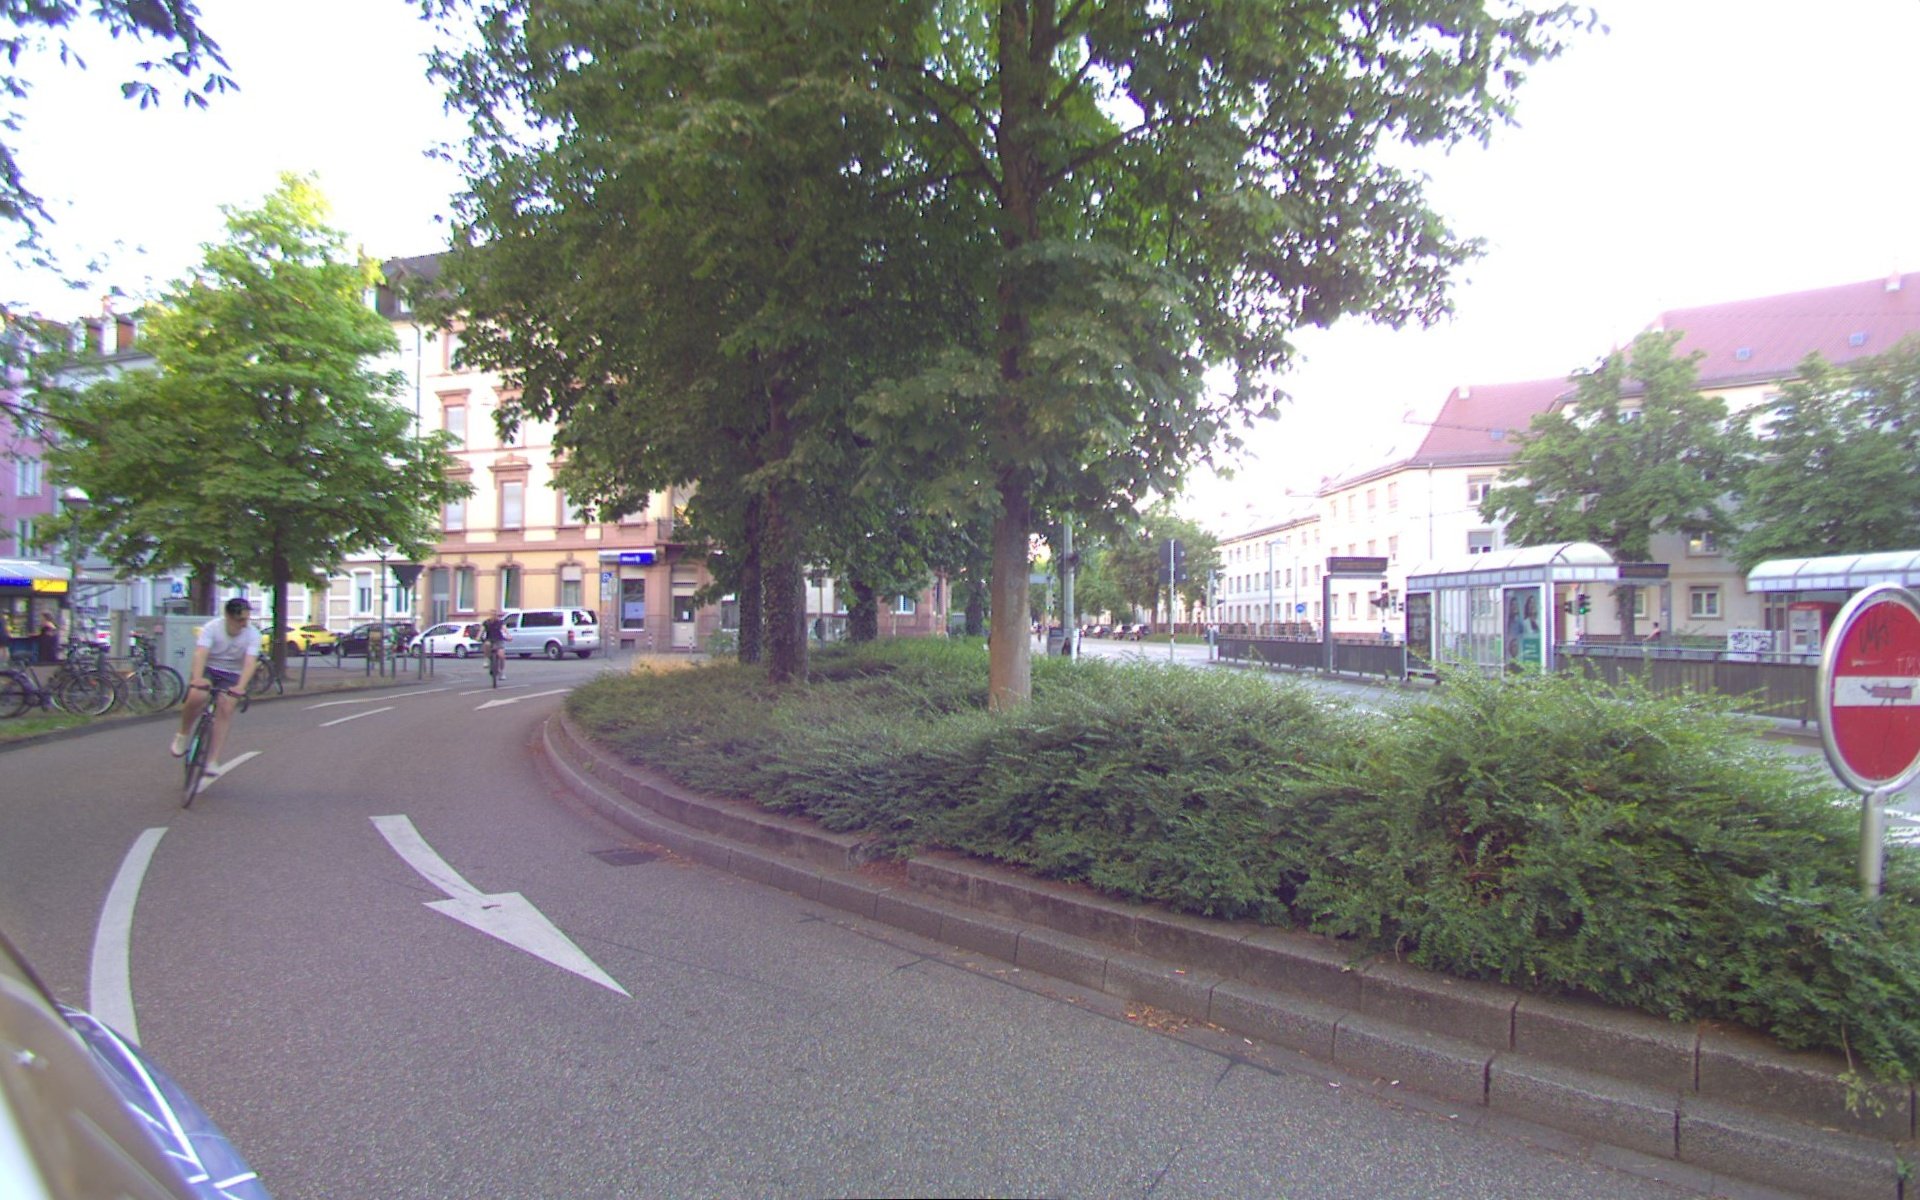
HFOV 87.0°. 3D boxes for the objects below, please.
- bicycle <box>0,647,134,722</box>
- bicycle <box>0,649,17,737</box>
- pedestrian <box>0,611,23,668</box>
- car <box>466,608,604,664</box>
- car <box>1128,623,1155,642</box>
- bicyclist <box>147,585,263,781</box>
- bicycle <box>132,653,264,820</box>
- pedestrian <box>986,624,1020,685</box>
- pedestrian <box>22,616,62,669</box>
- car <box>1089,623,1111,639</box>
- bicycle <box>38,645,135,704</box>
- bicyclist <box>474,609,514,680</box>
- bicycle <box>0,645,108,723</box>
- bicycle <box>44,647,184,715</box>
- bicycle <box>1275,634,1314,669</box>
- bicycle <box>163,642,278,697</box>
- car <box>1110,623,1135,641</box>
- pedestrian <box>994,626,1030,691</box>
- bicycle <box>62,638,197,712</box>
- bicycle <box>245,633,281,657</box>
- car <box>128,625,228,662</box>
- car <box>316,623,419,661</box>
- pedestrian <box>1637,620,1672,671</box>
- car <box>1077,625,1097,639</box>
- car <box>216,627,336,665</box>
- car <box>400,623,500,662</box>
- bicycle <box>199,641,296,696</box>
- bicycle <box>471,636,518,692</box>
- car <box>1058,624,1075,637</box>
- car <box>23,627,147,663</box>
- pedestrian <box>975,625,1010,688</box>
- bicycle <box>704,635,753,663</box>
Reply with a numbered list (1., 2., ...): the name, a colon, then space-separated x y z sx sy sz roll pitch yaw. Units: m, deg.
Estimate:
1. bicycle: -13.275 1.237 14.969 1.580 1.071 0.420 1 -2 -18
2. bicycle: -12.597 1.135 12.167 1.765 1.071 0.449 1 -2 -22
3. pedestrian: -27.963 1.152 29.550 0.581 1.650 0.680 0 -2 -11
4. car: -16.662 1.393 39.711 4.967 2.072 2.034 -1 0 20
5. car: 18.267 3.267 102.042 1.882 1.864 4.002 0 -2 -3
6. bicyclist: -6.274 0.662 8.458 0.675 1.524 0.976 1 -2 -32
7. bicycle: -6.227 1.039 8.365 0.675 1.160 2.121 1 -2 -32
8. pedestrian: 1.048 1.310 24.434 0.650 1.442 0.614 -1 -2 20
9. pedestrian: -27.502 1.264 30.336 0.581 1.551 0.680 0 -2 -11
10. car: 16.976 3.783 122.773 1.882 1.864 4.002 0 -2 -3
11. bicycle: -15.451 1.298 17.959 0.425 0.976 1.730 0 -2 -9
12. bicyclist: -10.234 0.963 22.208 0.675 1.524 0.976 1 -2 -32
13. bicycle: -13.333 1.200 14.553 1.580 1.084 0.420 1 -2 -18
14. bicycle: -13.263 1.262 15.904 1.581 1.028 0.556 1 -2 -14
15. bicycle: 10.532 1.609 31.949 0.538 1.059 1.856 0 -2 -3
16. bicycle: -14.276 1.340 19.556 1.872 1.047 0.432 0 -2 -1
17. car: 17.795 3.488 110.933 1.882 1.864 4.002 0 -2 -3
18. pedestrian: 1.186 1.323 23.013 0.650 1.442 0.614 -1 -2 20
19. bicycle: -13.374 1.202 16.336 1.581 1.157 0.556 1 -2 -14
20. bicycle: -34.230 2.206 49.676 1.850 1.149 0.478 -1 -2 21
21. car: -36.188 2.008 46.809 4.115 1.605 1.793 -1 0 21
22. car: -25.106 1.774 42.912 3.708 1.502 1.726 -1 0 16
23. pedestrian: 29.013 1.895 42.287 1.060 2.101 0.999 -1 -2 43
24. car: 16.586 4.161 132.060 1.882 1.864 4.002 0 -2 -3
25. car: -30.169 2.021 44.627 4.760 1.537 1.834 -1 0 17
26. car: -21.015 1.723 41.712 3.584 1.502 1.679 -1 0 19
27. bicycle: -14.022 1.343 19.935 1.584 1.047 0.432 0 -2 -1
28. bicycle: -10.185 1.371 22.111 0.675 1.160 2.121 1 -2 -31
29. car: 15.672 4.556 149.648 1.882 1.864 4.002 0 -2 -3
30. car: -38.287 1.959 44.295 4.803 1.528 1.987 -1 -2 19
31. pedestrian: 0.751 1.315 23.628 0.650 1.442 0.614 -1 -2 20
32. bicycle: -9.072 1.922 39.654 1.776 1.091 0.559 0 -1 7
